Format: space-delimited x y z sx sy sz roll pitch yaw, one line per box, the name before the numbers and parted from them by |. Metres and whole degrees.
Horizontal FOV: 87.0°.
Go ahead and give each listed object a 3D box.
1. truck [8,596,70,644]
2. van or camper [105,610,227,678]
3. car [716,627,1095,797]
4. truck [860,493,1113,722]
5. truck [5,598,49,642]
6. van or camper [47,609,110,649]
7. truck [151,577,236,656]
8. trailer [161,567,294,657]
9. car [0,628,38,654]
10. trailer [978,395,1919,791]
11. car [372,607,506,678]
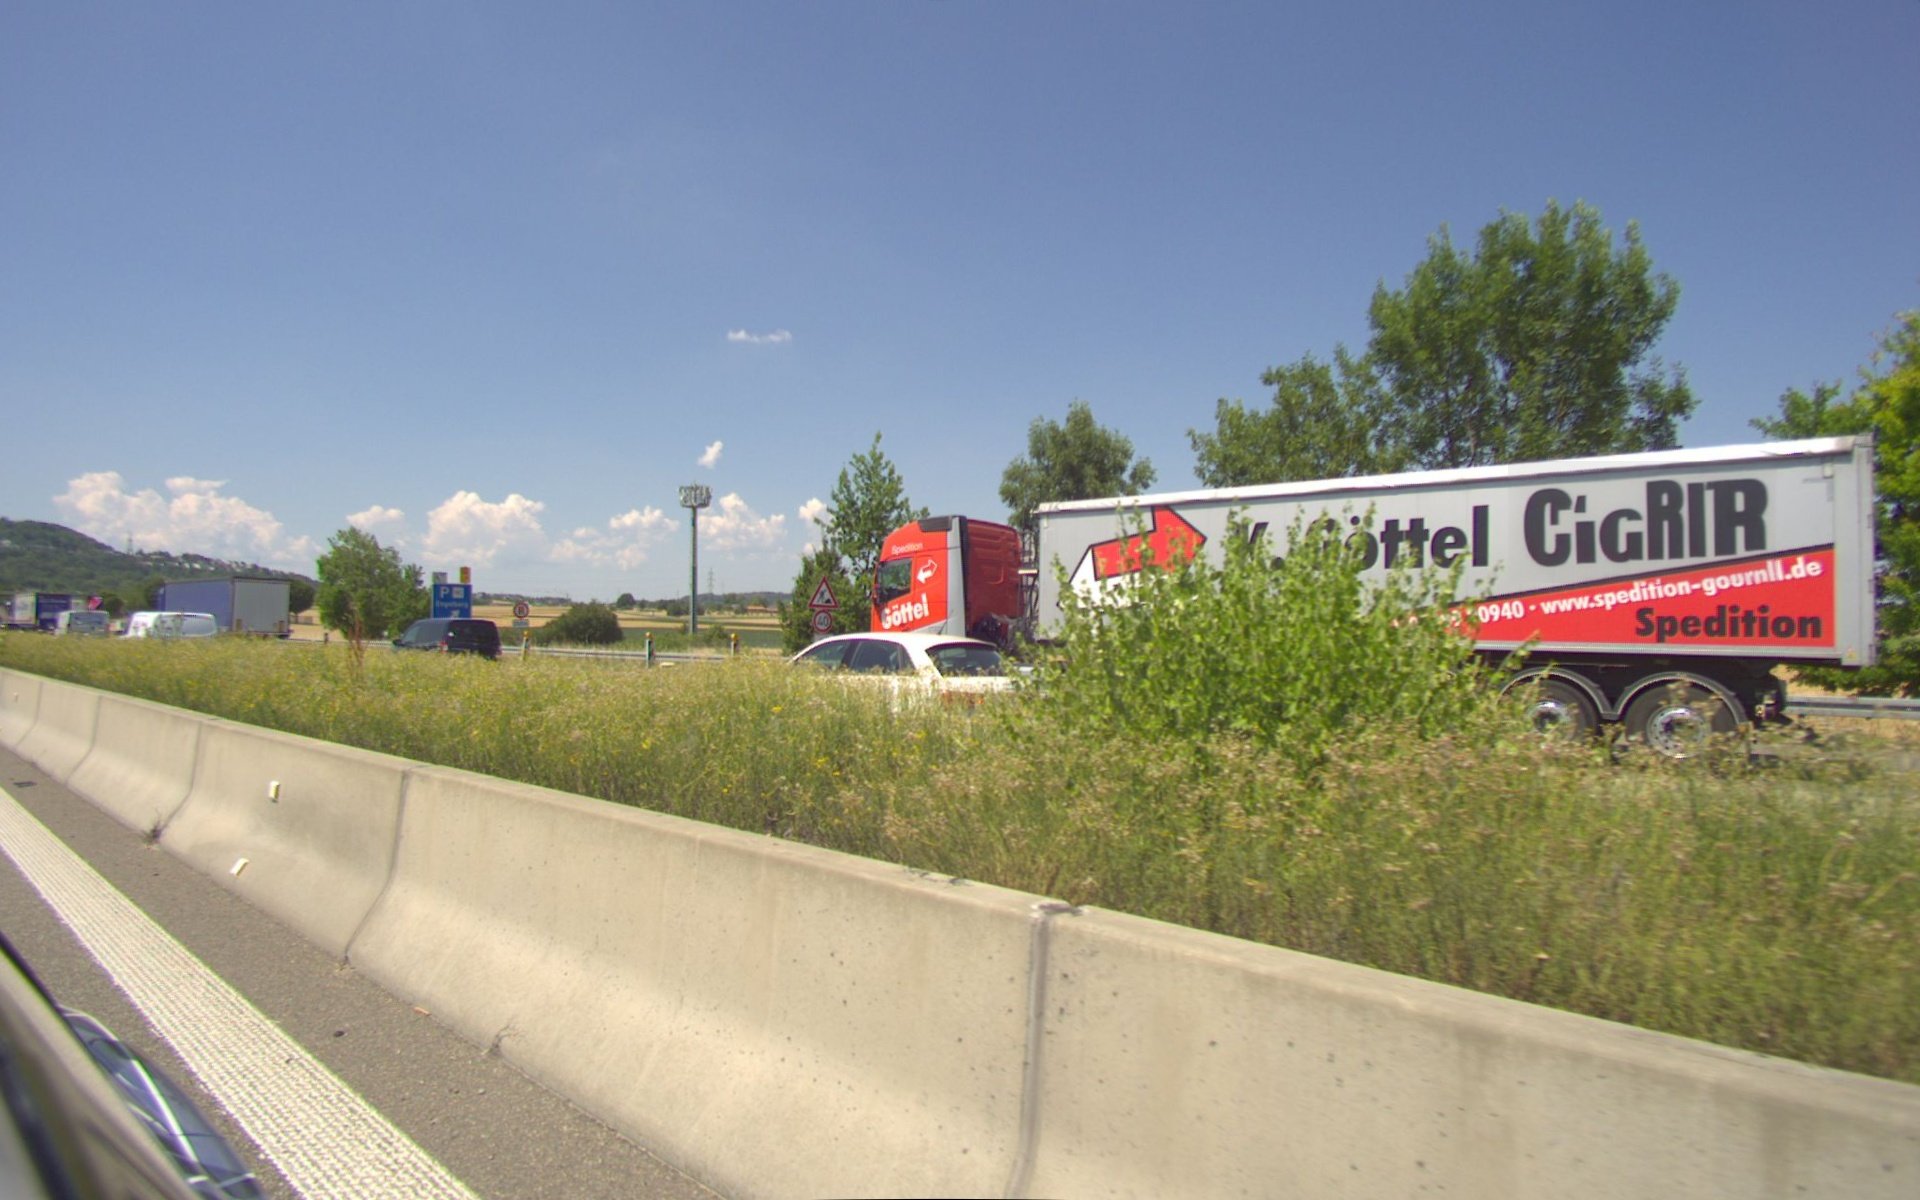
truck | -88.729 1.955 97.372 14.115 4.271 2.565 -1 -4 41
van or camper | -24.886 1.342 31.653 5.198 1.948 1.973 -1 -2 40
car | -0.672 0.998 10.441 3.812 1.427 1.677 -1 -2 40
truck | 0.491 0.210 19.556 3.998 3.885 2.826 -1 -3 41
truck | -94.098 2.026 102.062 4.851 4.271 2.565 -1 -4 41
van or camper | -53.155 1.735 60.991 5.490 2.291 2.072 -1 -2 40
truck | -44.641 0.989 58.910 5.583 4.383 2.835 -1 -2 41
trailer | -39.820 0.724 54.691 13.636 4.383 2.853 -1 -2 41
car | -55.055 2.371 59.102 3.193 1.480 1.371 -1 -2 40
trailer | 5.832 0.081 14.907 12.178 3.885 2.826 -1 -3 41
car | -13.886 1.094 26.879 4.258 1.740 1.677 -1 -2 40
